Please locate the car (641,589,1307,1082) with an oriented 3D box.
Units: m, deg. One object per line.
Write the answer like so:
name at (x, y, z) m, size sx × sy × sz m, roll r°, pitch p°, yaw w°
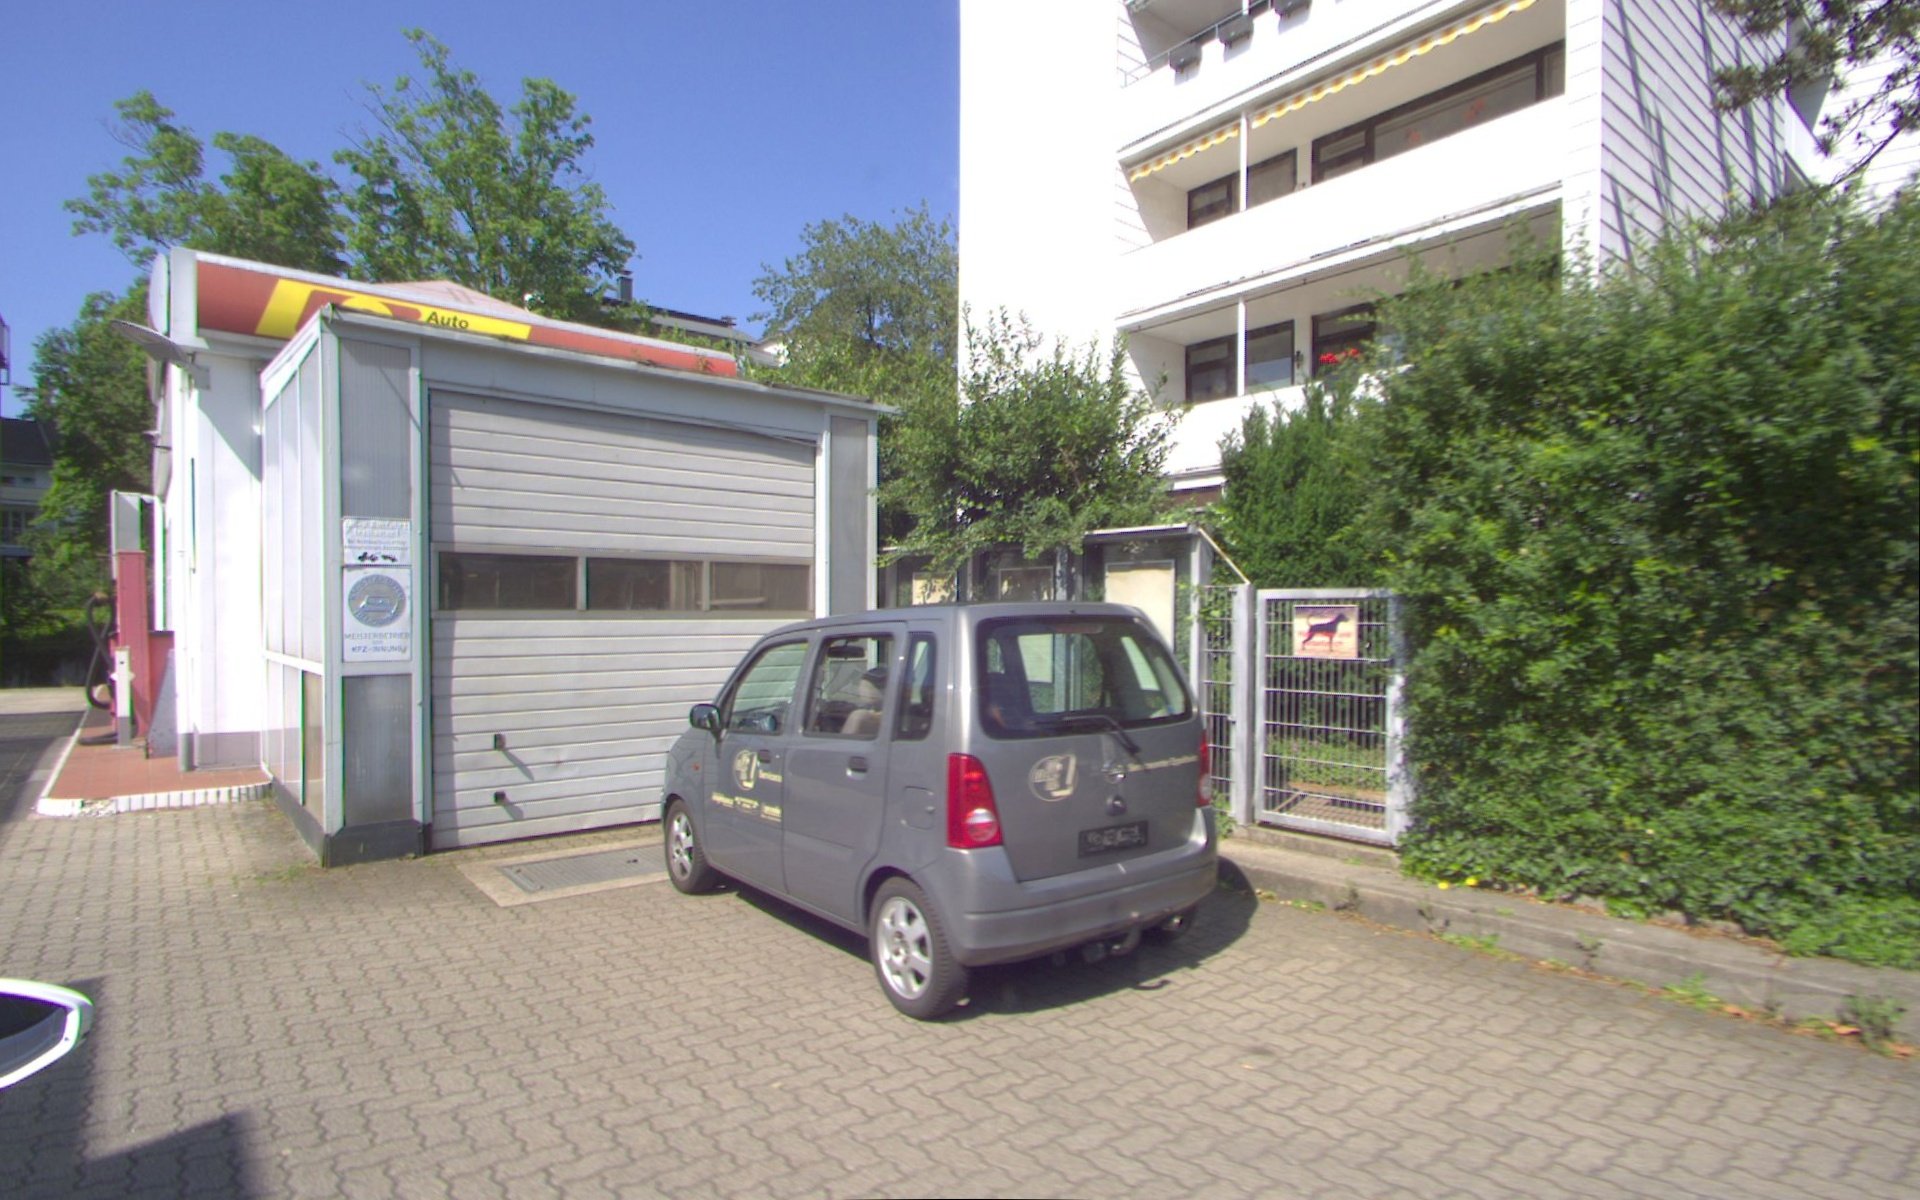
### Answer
car at (-0.245, 0.857, 5.309) m, size 1.672 × 1.637 × 3.636 m, roll 1°, pitch -2°, yaw -37°
